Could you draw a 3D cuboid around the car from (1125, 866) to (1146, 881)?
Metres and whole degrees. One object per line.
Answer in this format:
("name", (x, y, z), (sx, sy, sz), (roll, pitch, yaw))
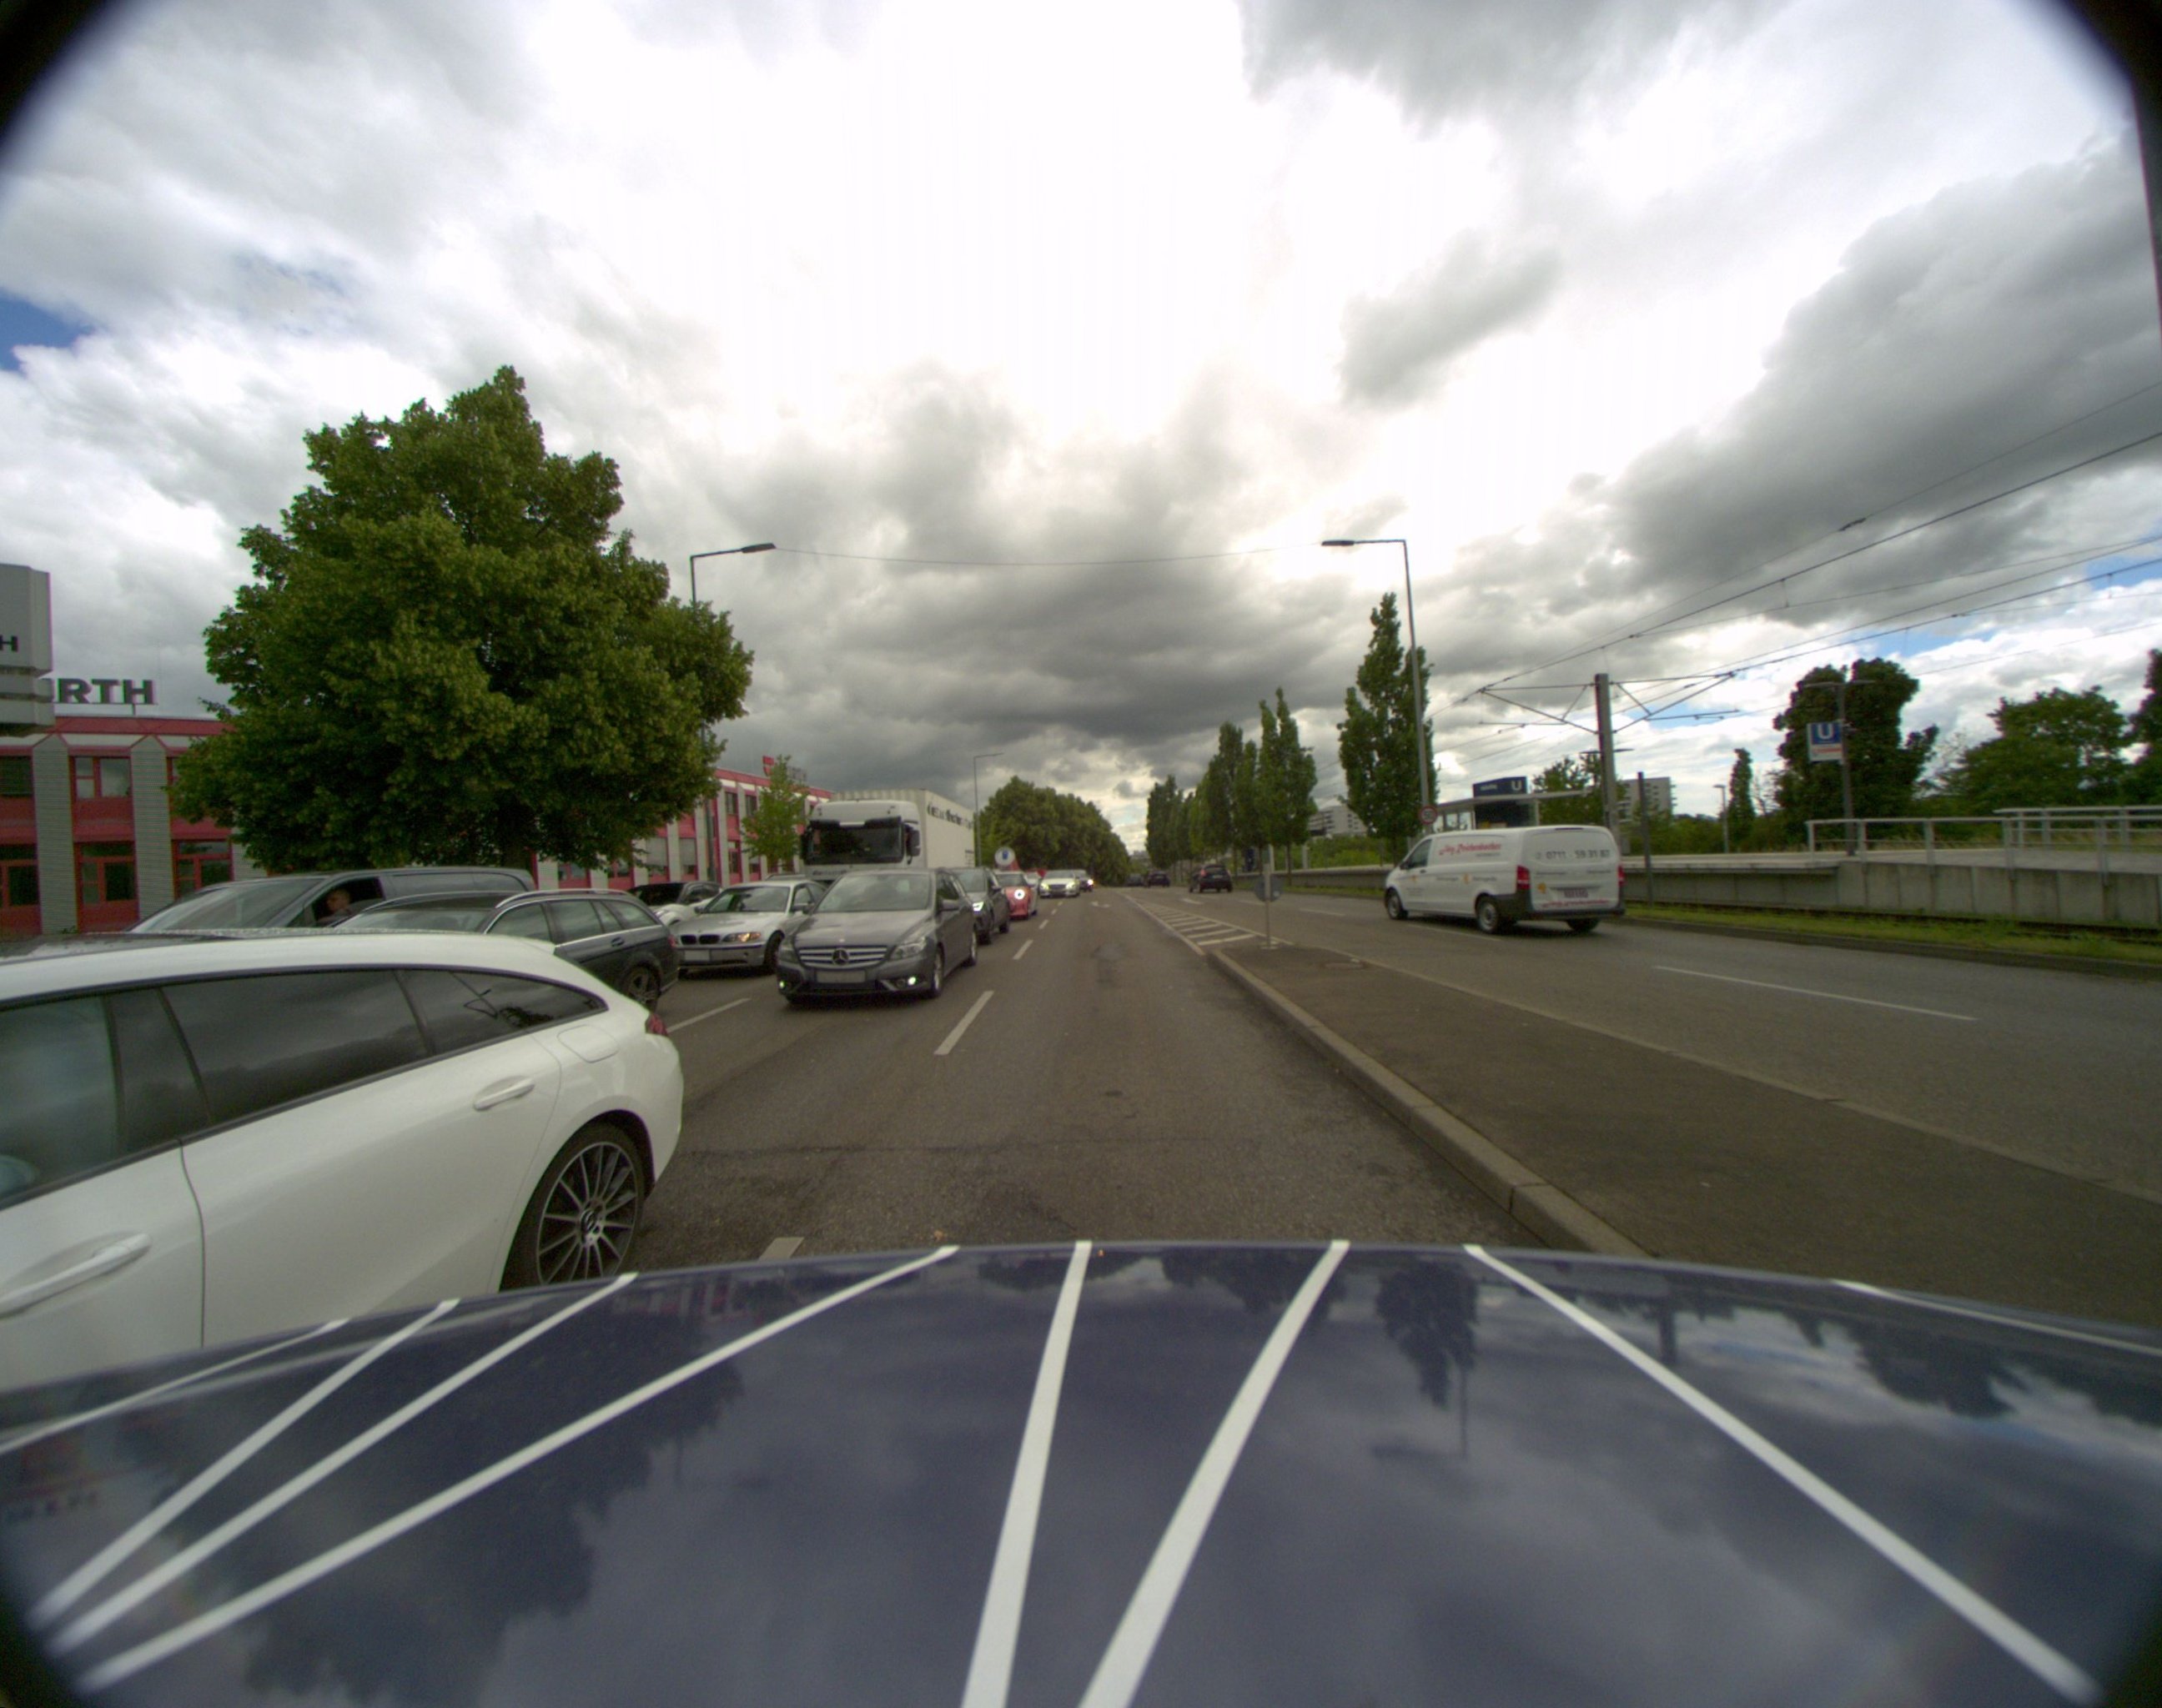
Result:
("car", (5.908, 2.089, 82.488), (1.813, 1.440, 3.934), (-2, 0, -1))

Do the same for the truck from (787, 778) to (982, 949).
("truck", (-5.247, 0.245, 22.816), (2.809, 3.880, 10.182), (-2, 0, 2))

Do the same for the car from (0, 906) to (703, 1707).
("car", (-2.650, 1.046, 1.159), (1.849, 1.498, 4.529), (-2, 1, -1))

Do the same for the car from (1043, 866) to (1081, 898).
("car", (-0.938, 1.416, 39.536), (1.804, 1.403, 4.317), (-2, 1, 1))

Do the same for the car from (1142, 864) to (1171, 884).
("car", (5.897, 1.576, 59.862), (1.700, 1.440, 3.934), (-2, -1, -2))

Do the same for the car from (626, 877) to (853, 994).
("car", (-5.393, 1.203, 12.721), (1.750, 1.375, 4.290), (-2, 1, 1))

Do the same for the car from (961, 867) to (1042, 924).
("car", (-2.265, 1.164, 22.471), (1.825, 1.496, 3.496), (-2, -1, 2))

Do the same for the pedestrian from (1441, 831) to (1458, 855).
("pedestrian", (17.807, -0.523, 36.726), (0.601, 1.148, 0.447), (-2, 1, 1))

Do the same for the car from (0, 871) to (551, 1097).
("car", (-8.875, 1.195, 8.969), (1.763, 1.765, 4.675), (-2, 1, 2))

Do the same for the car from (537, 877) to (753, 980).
("car", (-8.597, 1.385, 15.487), (1.844, 1.507, 4.106), (-6, 0, 1))

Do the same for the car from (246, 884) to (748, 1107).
("car", (-5.329, 1.146, 7.872), (1.750, 1.476, 4.356), (-2, 0, 1))

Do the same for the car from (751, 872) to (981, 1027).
("car", (-2.508, 1.044, 9.932), (1.750, 1.499, 4.048), (-2, -1, 1))

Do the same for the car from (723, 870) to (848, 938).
("car", (-8.449, 1.376, 22.161), (1.865, 1.648, 4.209), (-4, -1, 1))

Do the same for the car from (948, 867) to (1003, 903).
("car", (-4.893, 1.423, 35.770), (1.851, 1.521, 4.377), (-2, -1, 0))

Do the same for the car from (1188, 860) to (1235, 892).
("car", (6.581, 1.071, 38.695), (1.700, 1.440, 3.660), (-2, 0, 0))

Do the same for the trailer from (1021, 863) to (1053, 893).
("trailer", (-2.991, 1.624, 52.129), (1.775, 1.650, 3.994), (-2, 3, 1))

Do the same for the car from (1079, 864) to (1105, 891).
("car", (0.741, 1.531, 50.952), (1.669, 1.589, 3.996), (1, 1, 0))

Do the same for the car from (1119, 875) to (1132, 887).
("car", (6.901, 4.178, 117.902), (1.700, 1.441, 3.933), (-4, 1, -1))

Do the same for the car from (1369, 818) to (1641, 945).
("car", (7.813, 0.408, 14.817), (1.921, 1.953, 5.370), (-2, 1, -5))

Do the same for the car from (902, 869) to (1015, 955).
("car", (-2.427, 1.106, 15.925), (1.628, 1.484, 3.838), (-2, -1, 1))
